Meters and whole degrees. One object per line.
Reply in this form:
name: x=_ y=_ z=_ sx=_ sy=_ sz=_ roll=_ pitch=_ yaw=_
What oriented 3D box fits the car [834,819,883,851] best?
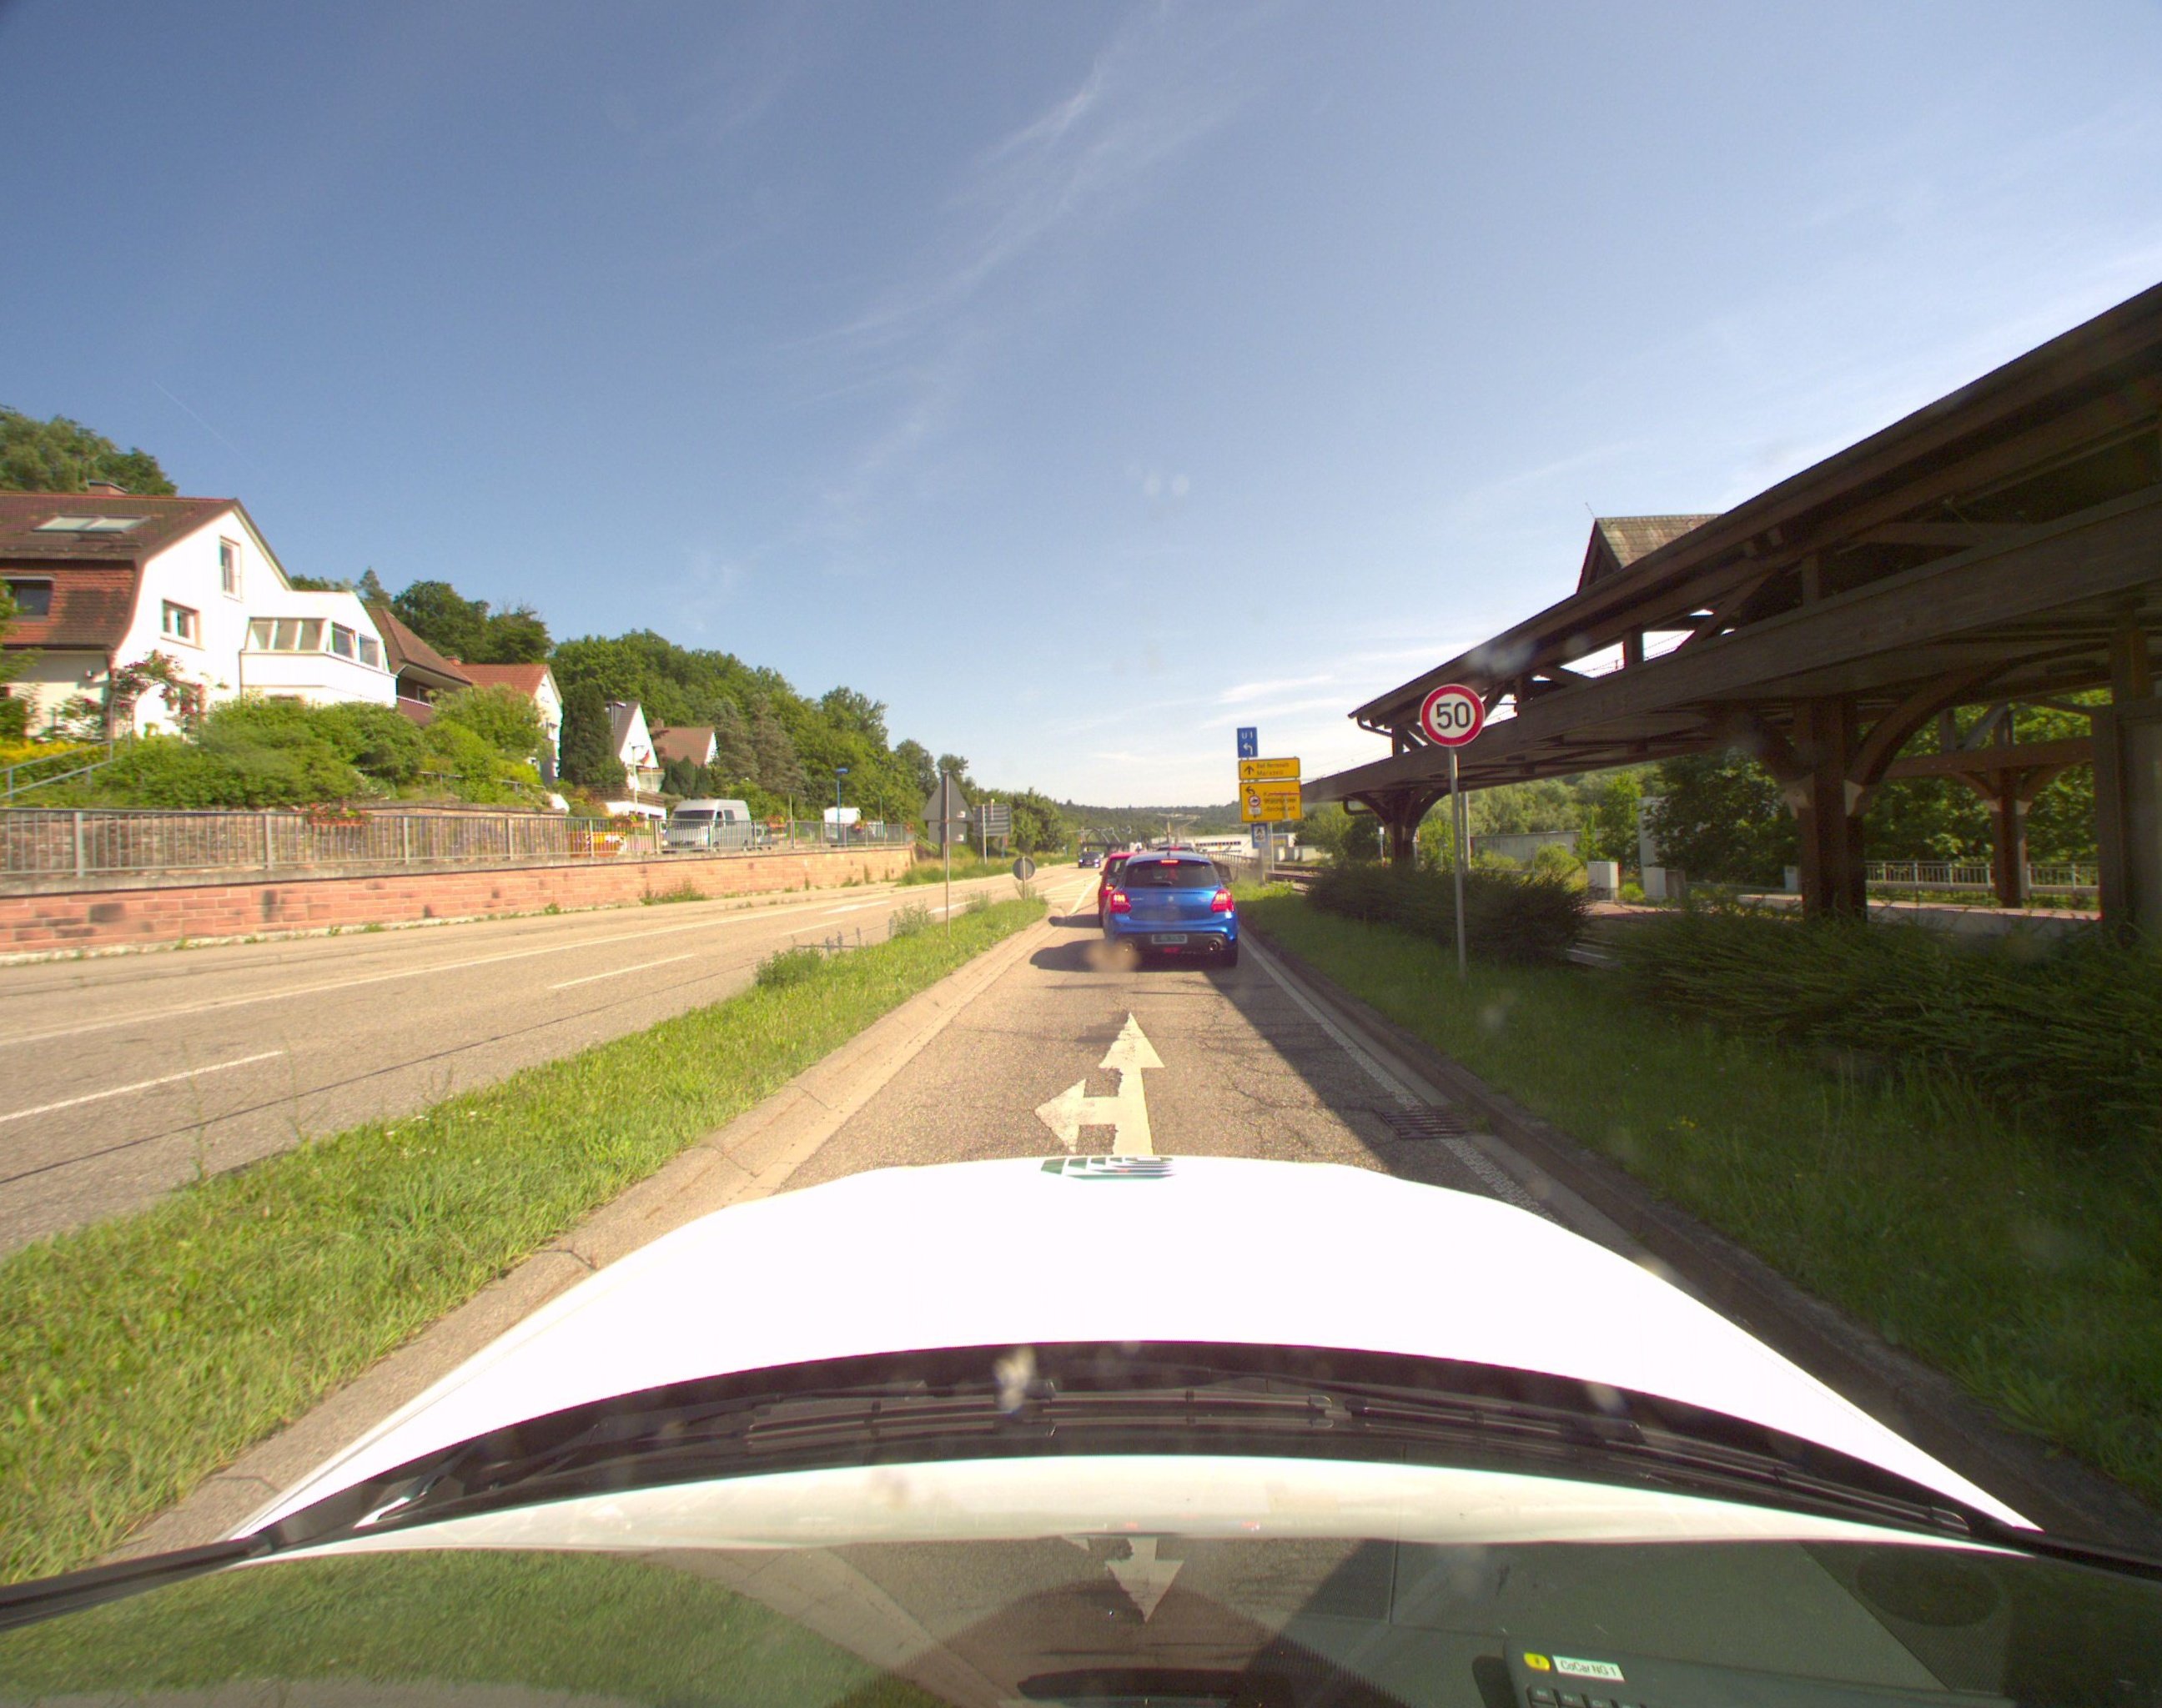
car: x=-14.037 y=-1.211 z=51.603 sx=2.016 sy=1.920 sz=4.727 roll=1 pitch=1 yaw=-3

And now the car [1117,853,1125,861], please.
car: x=9.876 y=0.682 z=200.851 sx=1.987 sy=2.013 sz=4.000 roll=0 pitch=0 yaw=0

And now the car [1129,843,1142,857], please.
car: x=8.720 y=-0.594 z=129.802 sx=1.985 sy=2.144 sz=4.725 roll=0 pitch=0 yaw=4

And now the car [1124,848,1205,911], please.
car: x=2.321 y=0.635 z=22.832 sx=1.984 sy=1.531 sz=4.609 roll=-2 pitch=0 yaw=5

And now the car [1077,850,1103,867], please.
car: x=0.794 y=0.381 z=71.472 sx=1.782 sy=1.470 sz=4.725 roll=-1 pitch=0 yaw=7

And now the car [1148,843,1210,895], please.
car: x=3.419 y=0.479 z=28.868 sx=1.984 sy=1.686 sz=4.504 roll=1 pitch=0 yaw=5

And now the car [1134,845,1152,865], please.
car: x=6.928 y=0.085 z=90.823 sx=1.985 sy=2.013 sz=4.005 roll=1 pitch=1 yaw=4

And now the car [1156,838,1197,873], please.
car: x=4.985 y=0.057 z=42.848 sx=1.984 sy=1.736 sz=4.006 roll=1 pitch=0 yaw=5

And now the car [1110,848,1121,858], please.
car: x=6.180 y=-0.224 z=145.173 sx=1.985 sy=1.783 sz=4.004 roll=0 pitch=0 yaw=4

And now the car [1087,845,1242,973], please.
car: x=1.132 y=0.668 z=11.934 sx=1.860 sy=1.548 sz=4.003 roll=-1 pitch=0 yaw=3

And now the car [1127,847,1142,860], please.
car: x=7.591 y=-0.091 z=115.310 sx=1.985 sy=1.816 sz=4.005 roll=1 pitch=1 yaw=4

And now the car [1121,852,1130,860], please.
car: x=9.431 y=0.392 z=172.143 sx=1.985 sy=1.591 sz=4.004 roll=0 pitch=0 yaw=3

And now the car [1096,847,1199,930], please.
car: x=1.463 y=0.662 z=17.600 sx=1.984 sy=1.571 sz=4.006 roll=0 pitch=0 yaw=5

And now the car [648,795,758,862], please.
car: x=-15.168 y=-1.002 z=33.079 sx=2.089 sy=2.444 sz=5.777 roll=1 pitch=1 yaw=-4

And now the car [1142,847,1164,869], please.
car: x=6.914 y=0.326 z=78.640 sx=1.985 sy=2.013 sz=4.005 roll=1 pitch=1 yaw=4
